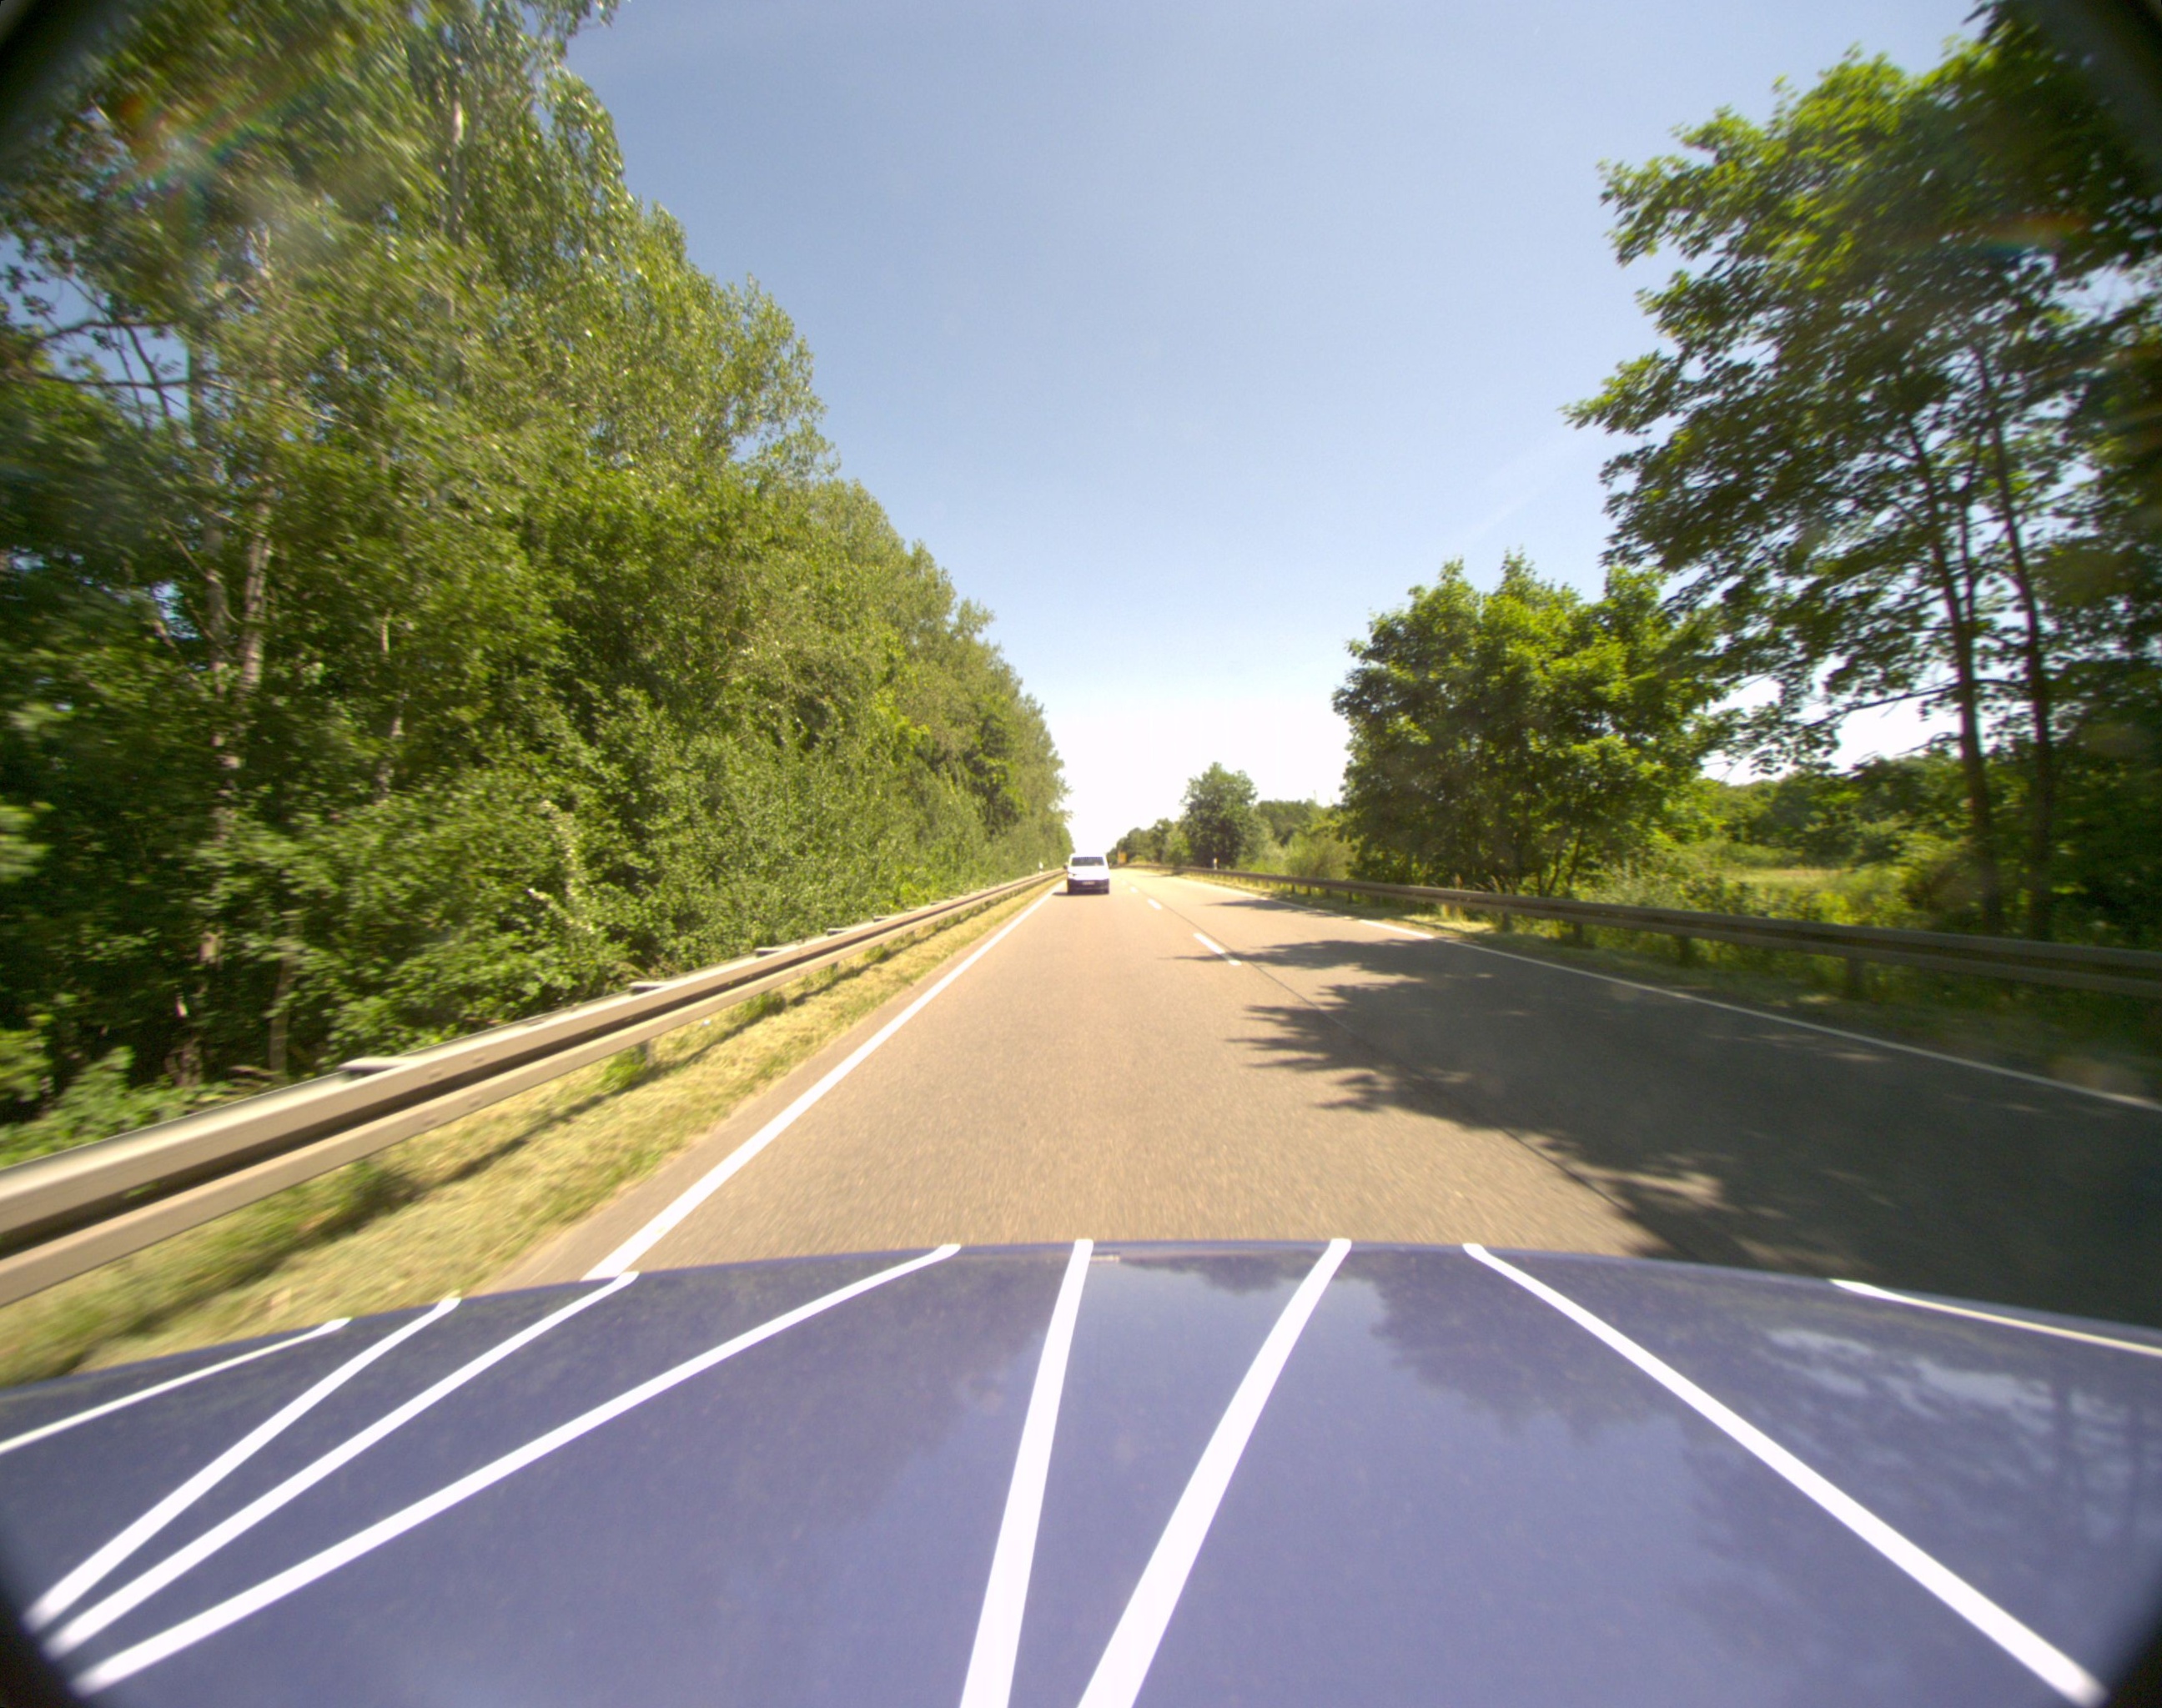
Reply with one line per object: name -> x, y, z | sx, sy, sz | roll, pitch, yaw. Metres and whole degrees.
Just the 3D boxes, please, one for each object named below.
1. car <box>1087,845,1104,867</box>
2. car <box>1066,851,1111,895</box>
car -> 1.550, 0.248, 81.313 | 1.782, 2.287, 4.106 | -2, 0, 1
car -> 0.358, 0.784, 33.304 | 1.782, 1.743, 4.513 | -2, 0, 1
